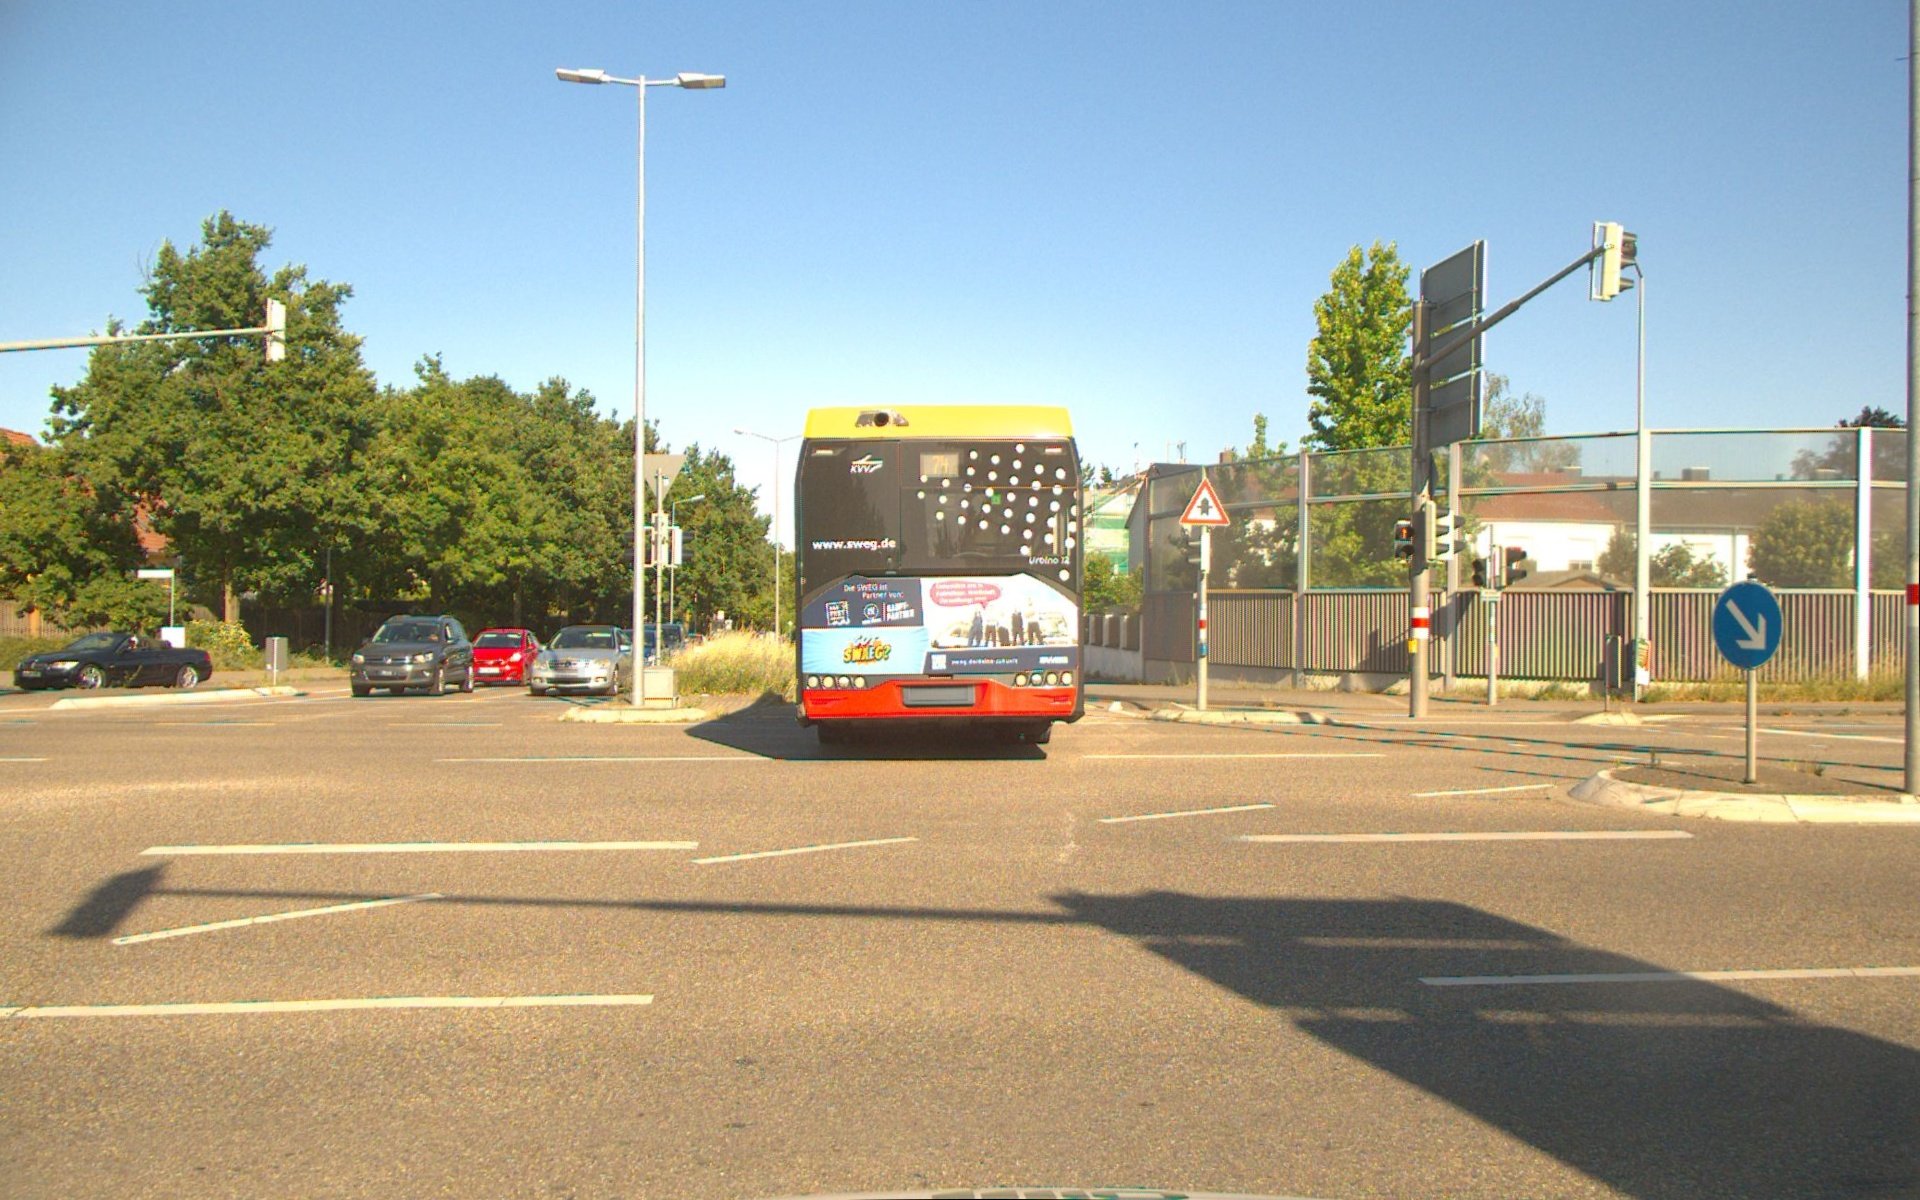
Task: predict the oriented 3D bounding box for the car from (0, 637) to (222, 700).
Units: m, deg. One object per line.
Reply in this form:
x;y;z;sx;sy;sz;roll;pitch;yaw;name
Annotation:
-19.156;1.557;37.438;1.997;1.332;4.686;0;-3;14;car

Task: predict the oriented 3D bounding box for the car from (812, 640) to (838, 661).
-11.629;4.356;142.571;1.900;1.734;3.991;1;-2;-9;car

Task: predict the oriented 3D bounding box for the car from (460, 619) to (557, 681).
-11.553;1.260;42.503;1.612;1.509;3.711;0;-1;-3;car

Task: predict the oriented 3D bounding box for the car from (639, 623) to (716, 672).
-8.996;1.489;52.943;1.954;1.476;4.396;0;-1;-4;car

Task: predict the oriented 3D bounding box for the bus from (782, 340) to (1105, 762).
-0.378;-0.429;20.058;2.702;3.518;12.392;0;0;-2;bus

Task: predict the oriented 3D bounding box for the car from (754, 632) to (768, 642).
-31.099;5.733;258.347;1.898;1.479;3.989;1;-2;-10;car

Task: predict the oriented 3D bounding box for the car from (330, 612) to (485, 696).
-11.635;1.112;35.178;1.954;1.673;4.527;0;-1;-3;car

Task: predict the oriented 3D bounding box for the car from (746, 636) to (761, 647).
-28.953;5.856;232.179;1.898;1.569;3.991;1;-2;-9;car

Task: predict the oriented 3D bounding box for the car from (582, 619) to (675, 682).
-8.277;1.247;41.553;1.712;1.509;3.885;0;-1;-3;car

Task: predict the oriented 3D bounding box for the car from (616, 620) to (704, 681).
-8.494;1.415;47.173;1.954;1.644;4.526;0;-1;-4;car

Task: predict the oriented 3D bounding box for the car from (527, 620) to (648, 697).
-7.930;1.213;35.557;1.757;1.532;4.527;0;-1;-3;car

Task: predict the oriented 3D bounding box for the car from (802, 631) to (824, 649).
-14.637;3.979;164.464;1.898;1.773;3.991;1;-2;-9;car
